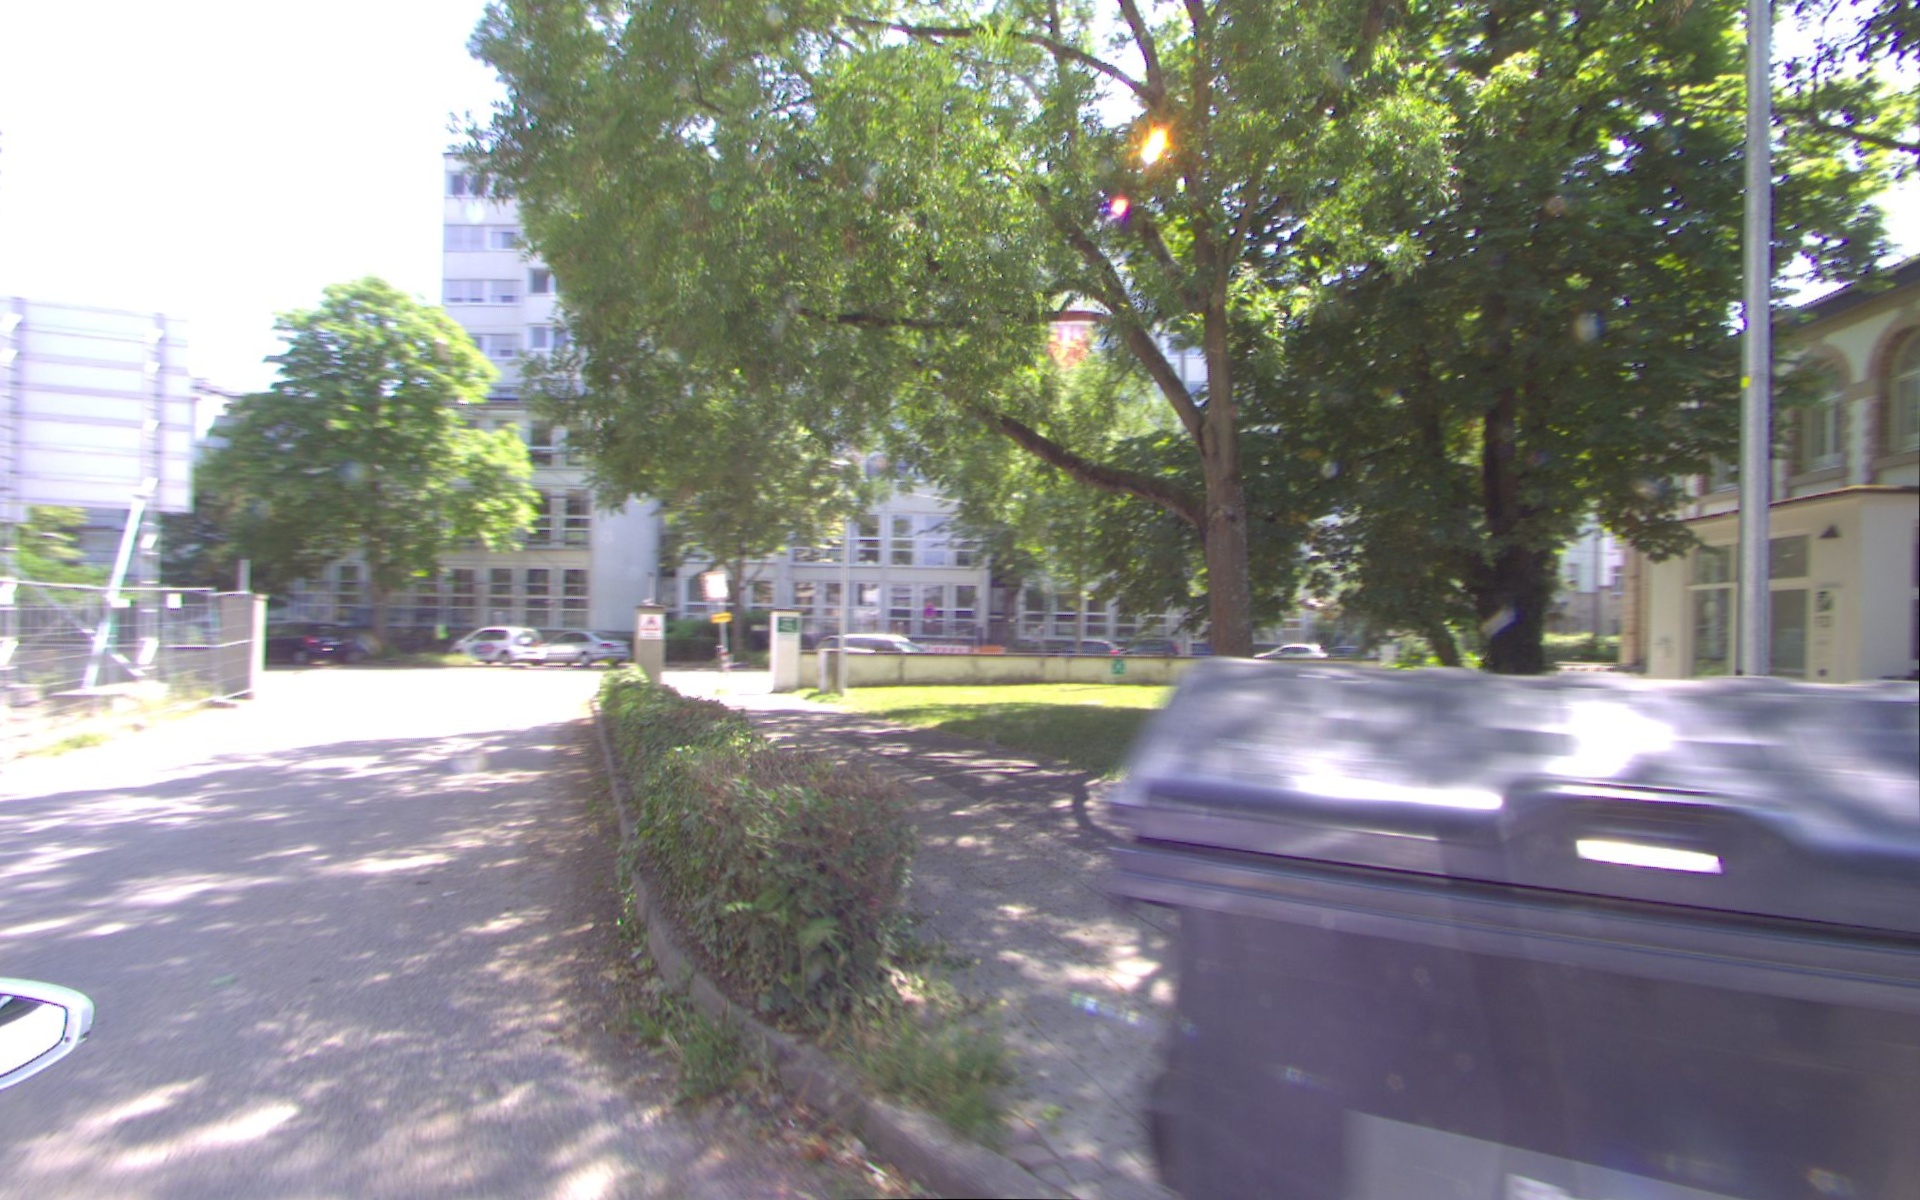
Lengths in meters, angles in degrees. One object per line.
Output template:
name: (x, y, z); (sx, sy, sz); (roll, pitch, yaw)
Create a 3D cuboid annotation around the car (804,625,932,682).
car: (-2.556, 1.470, 27.883); (3.278, 1.498, 1.429); (1, -1, -23)

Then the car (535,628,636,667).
car: (-14.928, 1.859, 39.901); (3.651, 1.433, 1.664); (0, -1, 25)

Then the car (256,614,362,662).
car: (-23.704, 1.358, 36.432); (3.879, 1.650, 2.005); (0, -2, 37)

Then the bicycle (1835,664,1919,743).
bicycle: (14.259, 1.534, 14.996); (1.791, 1.116, 0.406); (-2, -1, 6)

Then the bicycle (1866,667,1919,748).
bicycle: (14.077, 1.510, 14.270); (1.791, 1.116, 0.406); (-2, -1, 6)

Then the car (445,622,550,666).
car: (-17.978, 1.701, 38.941); (3.629, 1.610, 1.666); (0, -1, 22)

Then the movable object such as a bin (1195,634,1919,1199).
movable object such as a bin: (1.060, 0.794, 1.307); (1.350, 1.477, 1.079); (1, -1, 7)
